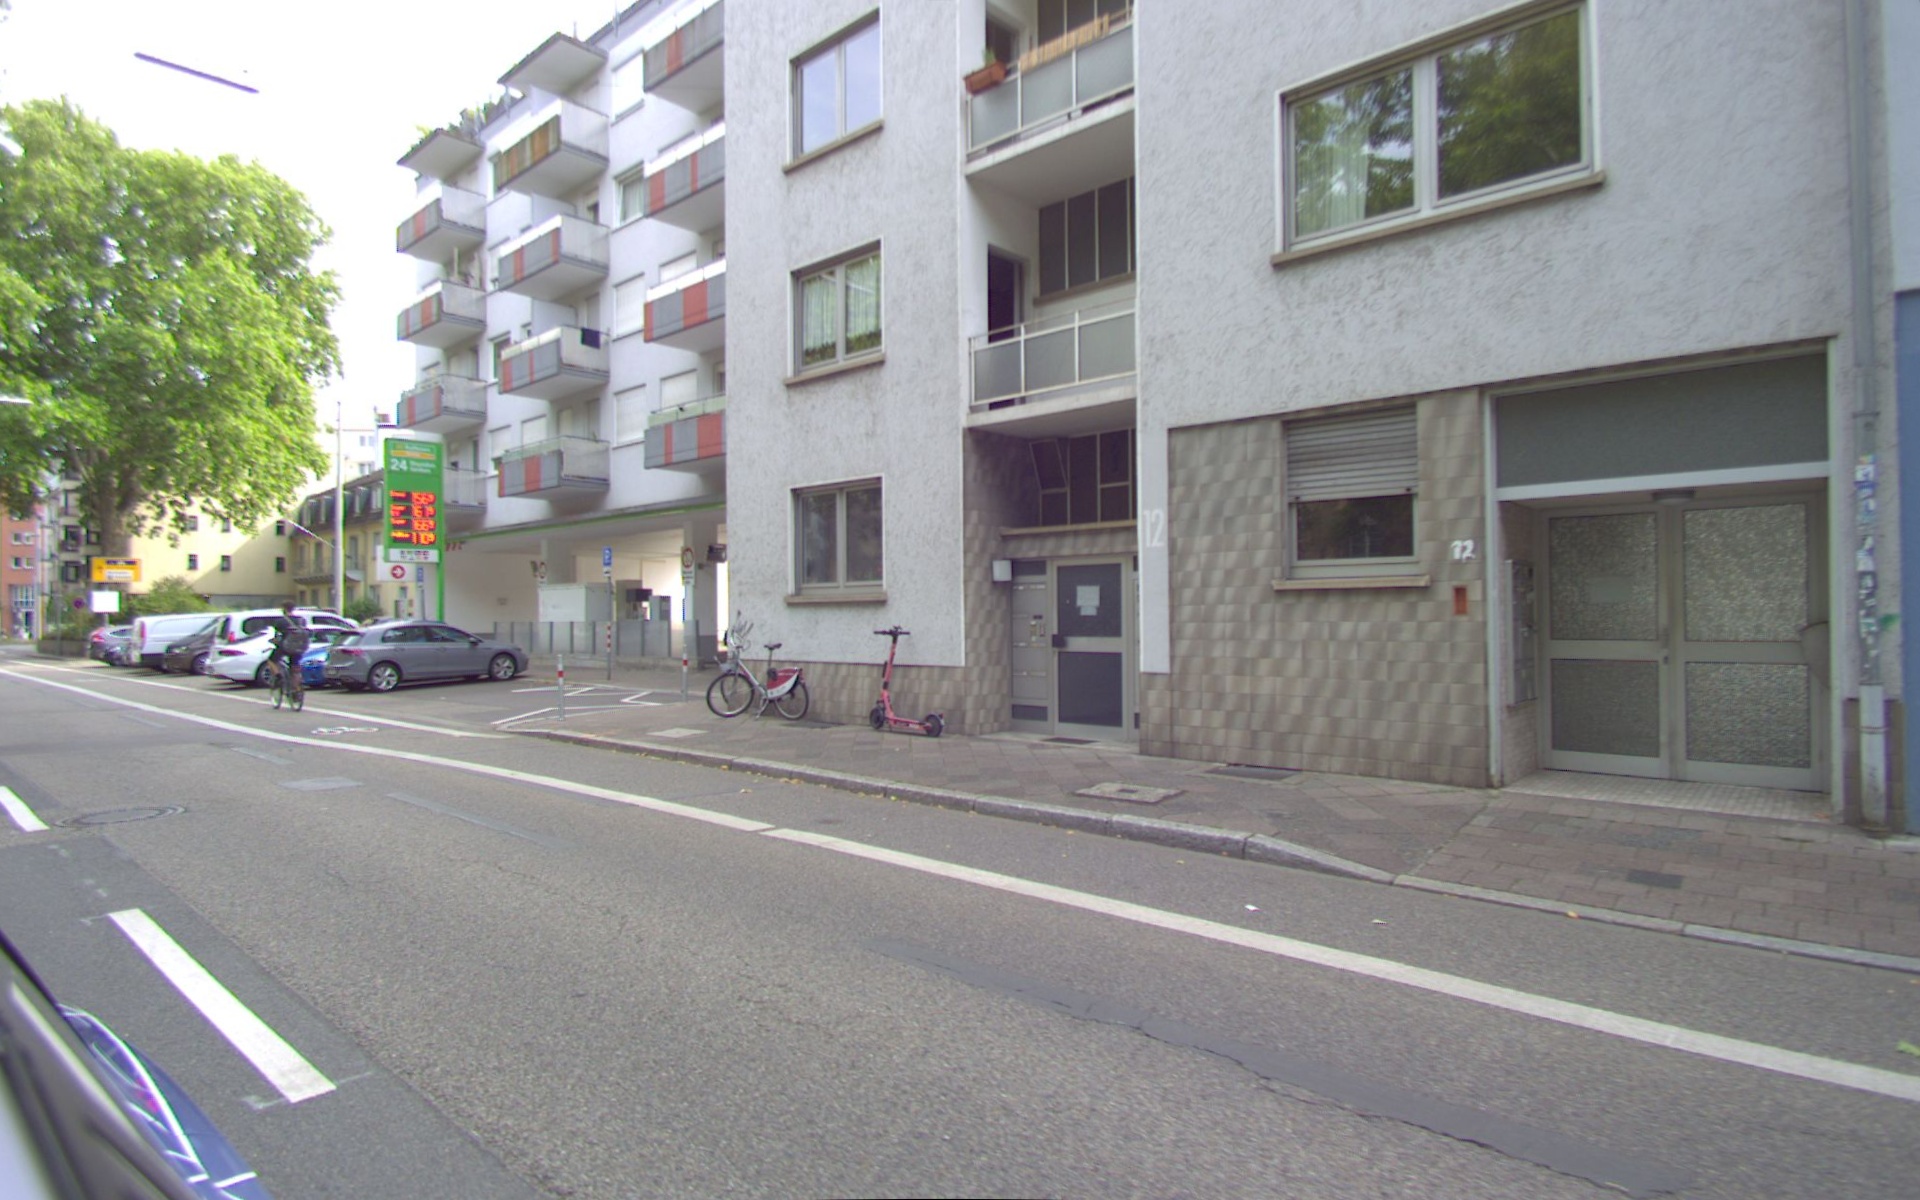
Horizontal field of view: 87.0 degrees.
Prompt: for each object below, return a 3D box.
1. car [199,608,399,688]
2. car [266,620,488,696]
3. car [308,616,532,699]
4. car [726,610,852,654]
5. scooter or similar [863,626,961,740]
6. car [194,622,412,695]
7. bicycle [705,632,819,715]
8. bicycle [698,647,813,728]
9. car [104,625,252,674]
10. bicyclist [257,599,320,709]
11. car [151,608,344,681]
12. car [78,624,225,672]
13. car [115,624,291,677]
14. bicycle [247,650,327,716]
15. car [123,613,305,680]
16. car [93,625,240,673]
[{"bbox_3d":[-17.966,1.244,27.641,1.923,1.862,4.167,-2,1,42],"label":"car"},{"bbox_3d":[-14.022,1.327,24.523,1.910,1.462,4.255,-2,1,42],"label":"car"},{"bbox_3d":[-12.245,1.245,23.135,1.837,1.525,4.107,-2,1,42],"label":"car"},{"bbox_3d":[-5.503,1.009,32.390,3.998,1.308,1.888,-2,-1,41],"label":"car"},{"bbox_3d":[-0.569,0.928,11.607,1.201,1.231,0.346,-2,-1,42],"label":"scooter or similar"},{"bbox_3d":[-16.383,1.406,25.389,1.873,1.462,4.226,-2,1,42],"label":"car"},{"bbox_3d":[-2.966,1.083,15.304,0.453,1.126,1.753,-2,-1,41],"label":"bicycle"},{"bbox_3d":[-2.701,1.121,13.270,1.662,0.957,0.590,-2,-1,42],"label":"bicycle"},{"bbox_3d":[-29.968,1.856,38.883,1.719,1.522,4.220,-2,1,42],"label":"car"},{"bbox_3d":[-11.555,0.905,17.410,1.045,1.824,0.645,-1,-1,42],"label":"bicyclist"},{"bbox_3d":[-22.747,1.368,32.454,1.993,1.948,4.716,-2,1,42],"label":"car"},{"bbox_3d":[-33.144,1.927,41.567,1.754,1.618,4.470,-2,1,42],"label":"car"},{"bbox_3d":[-26.513,1.707,35.584,1.874,1.481,4.655,-2,1,42],"label":"car"},{"bbox_3d":[-11.661,1.401,17.512,2.076,1.022,0.639,-1,0,42],"label":"bicycle"},{"bbox_3d":[-24.838,1.479,33.806,1.950,1.873,4.567,-2,1,42],"label":"car"},{"bbox_3d":[-31.369,1.887,40.082,1.732,1.560,4.315,-2,1,42],"label":"car"}]
